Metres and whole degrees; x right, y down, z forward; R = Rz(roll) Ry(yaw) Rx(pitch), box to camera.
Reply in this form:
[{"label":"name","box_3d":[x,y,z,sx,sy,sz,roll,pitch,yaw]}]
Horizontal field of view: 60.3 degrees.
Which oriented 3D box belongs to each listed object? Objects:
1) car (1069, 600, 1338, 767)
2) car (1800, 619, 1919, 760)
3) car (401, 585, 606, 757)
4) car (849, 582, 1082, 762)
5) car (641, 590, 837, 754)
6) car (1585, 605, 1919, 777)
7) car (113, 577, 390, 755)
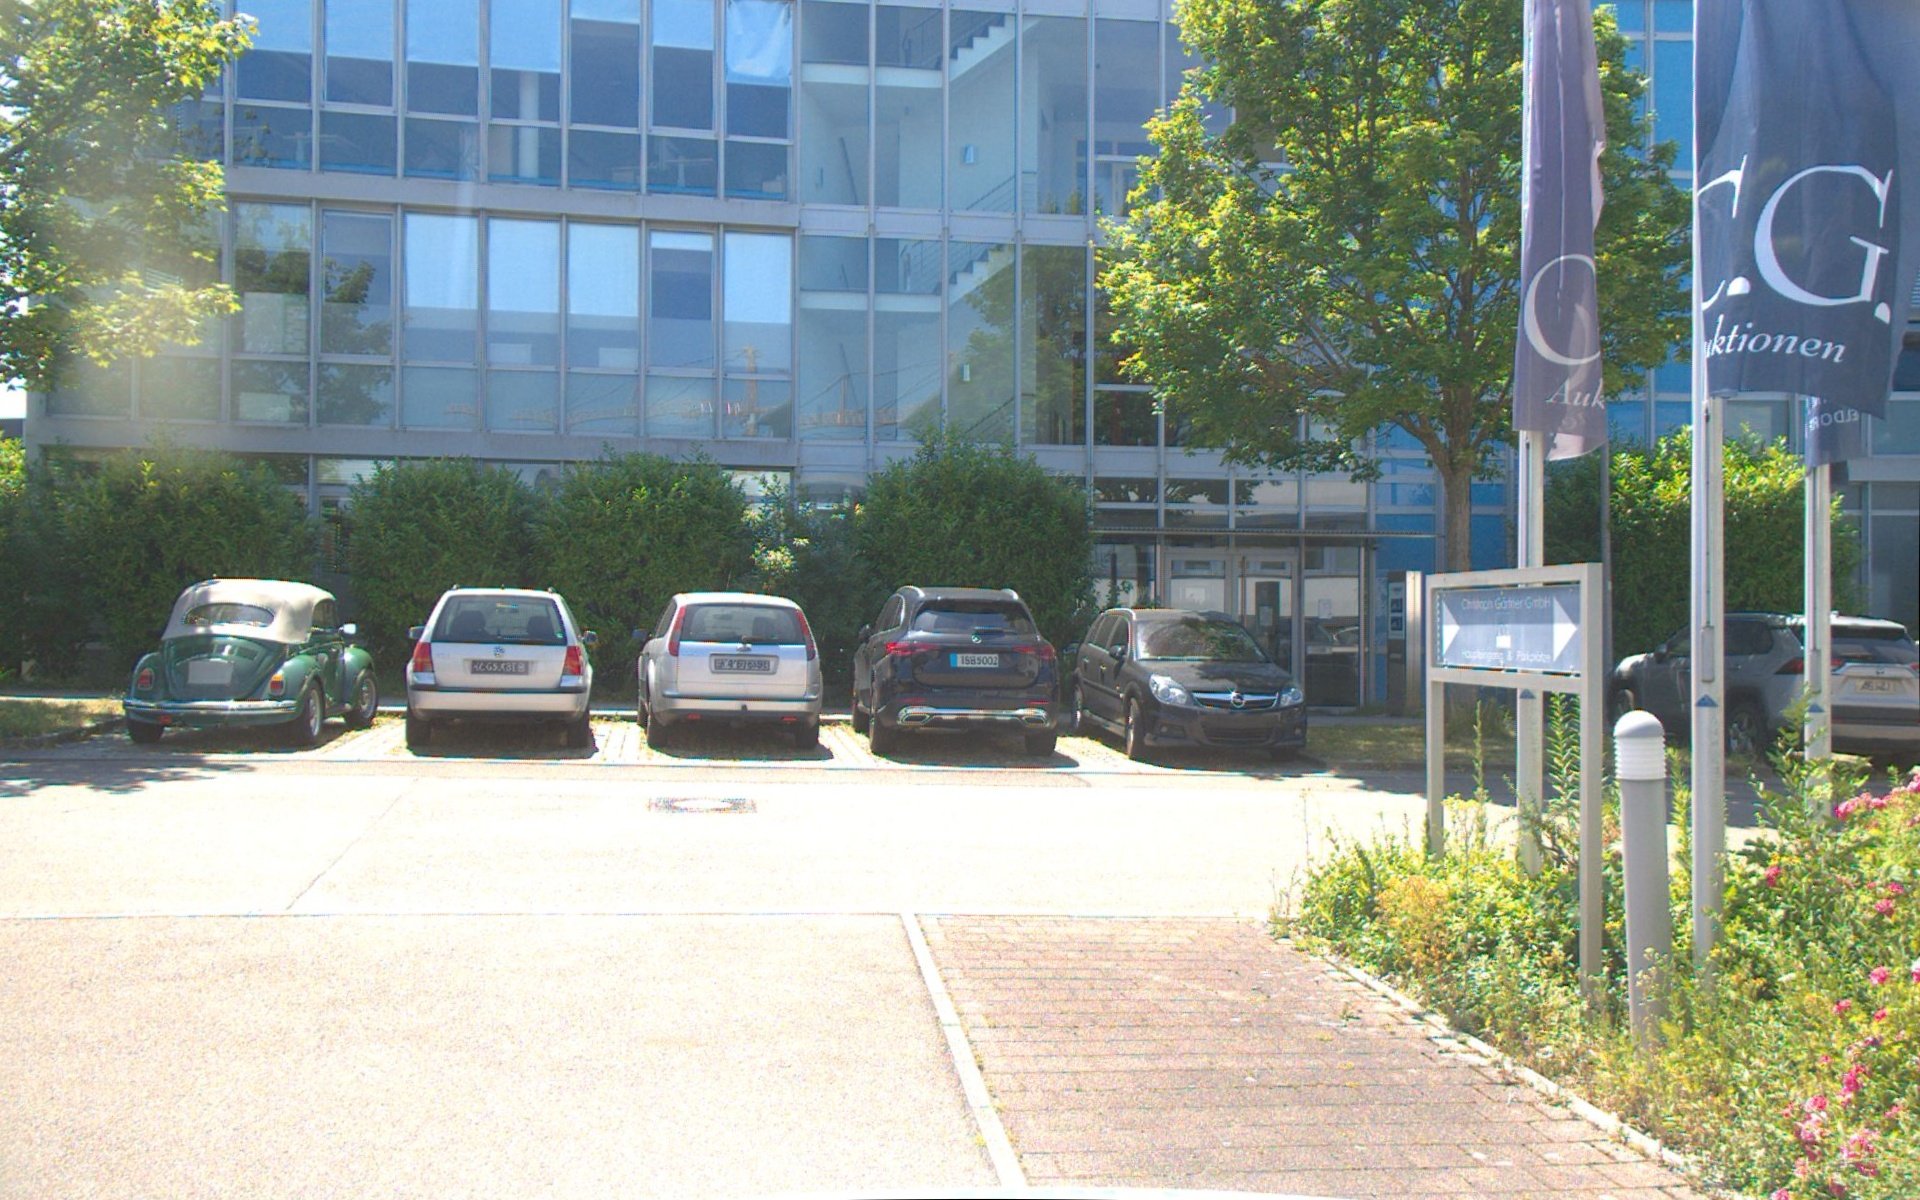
[{"label":"car","box_3d":[2.447,0.795,17.722,1.736,1.508,4.251,1,1,-8]},{"label":"car","box_3d":[11.595,1.055,18.524,1.703,1.518,4.332,2,0,-8]},{"label":"car","box_3d":[-4.430,0.624,16.478,1.701,1.474,3.643,2,0,-12]},{"label":"car","box_3d":[-0.072,0.663,17.507,1.891,1.639,3.979,2,0,-8]},{"label":"car","box_3d":[-2.418,0.679,17.371,1.734,1.474,3.643,2,0,-12]},{"label":"car","box_3d":[9.027,0.919,18.754,1.785,1.648,4.332,1,1,-8]},{"label":"car","box_3d":[-6.653,0.546,15.912,1.513,1.474,3.647,2,0,-8]}]
